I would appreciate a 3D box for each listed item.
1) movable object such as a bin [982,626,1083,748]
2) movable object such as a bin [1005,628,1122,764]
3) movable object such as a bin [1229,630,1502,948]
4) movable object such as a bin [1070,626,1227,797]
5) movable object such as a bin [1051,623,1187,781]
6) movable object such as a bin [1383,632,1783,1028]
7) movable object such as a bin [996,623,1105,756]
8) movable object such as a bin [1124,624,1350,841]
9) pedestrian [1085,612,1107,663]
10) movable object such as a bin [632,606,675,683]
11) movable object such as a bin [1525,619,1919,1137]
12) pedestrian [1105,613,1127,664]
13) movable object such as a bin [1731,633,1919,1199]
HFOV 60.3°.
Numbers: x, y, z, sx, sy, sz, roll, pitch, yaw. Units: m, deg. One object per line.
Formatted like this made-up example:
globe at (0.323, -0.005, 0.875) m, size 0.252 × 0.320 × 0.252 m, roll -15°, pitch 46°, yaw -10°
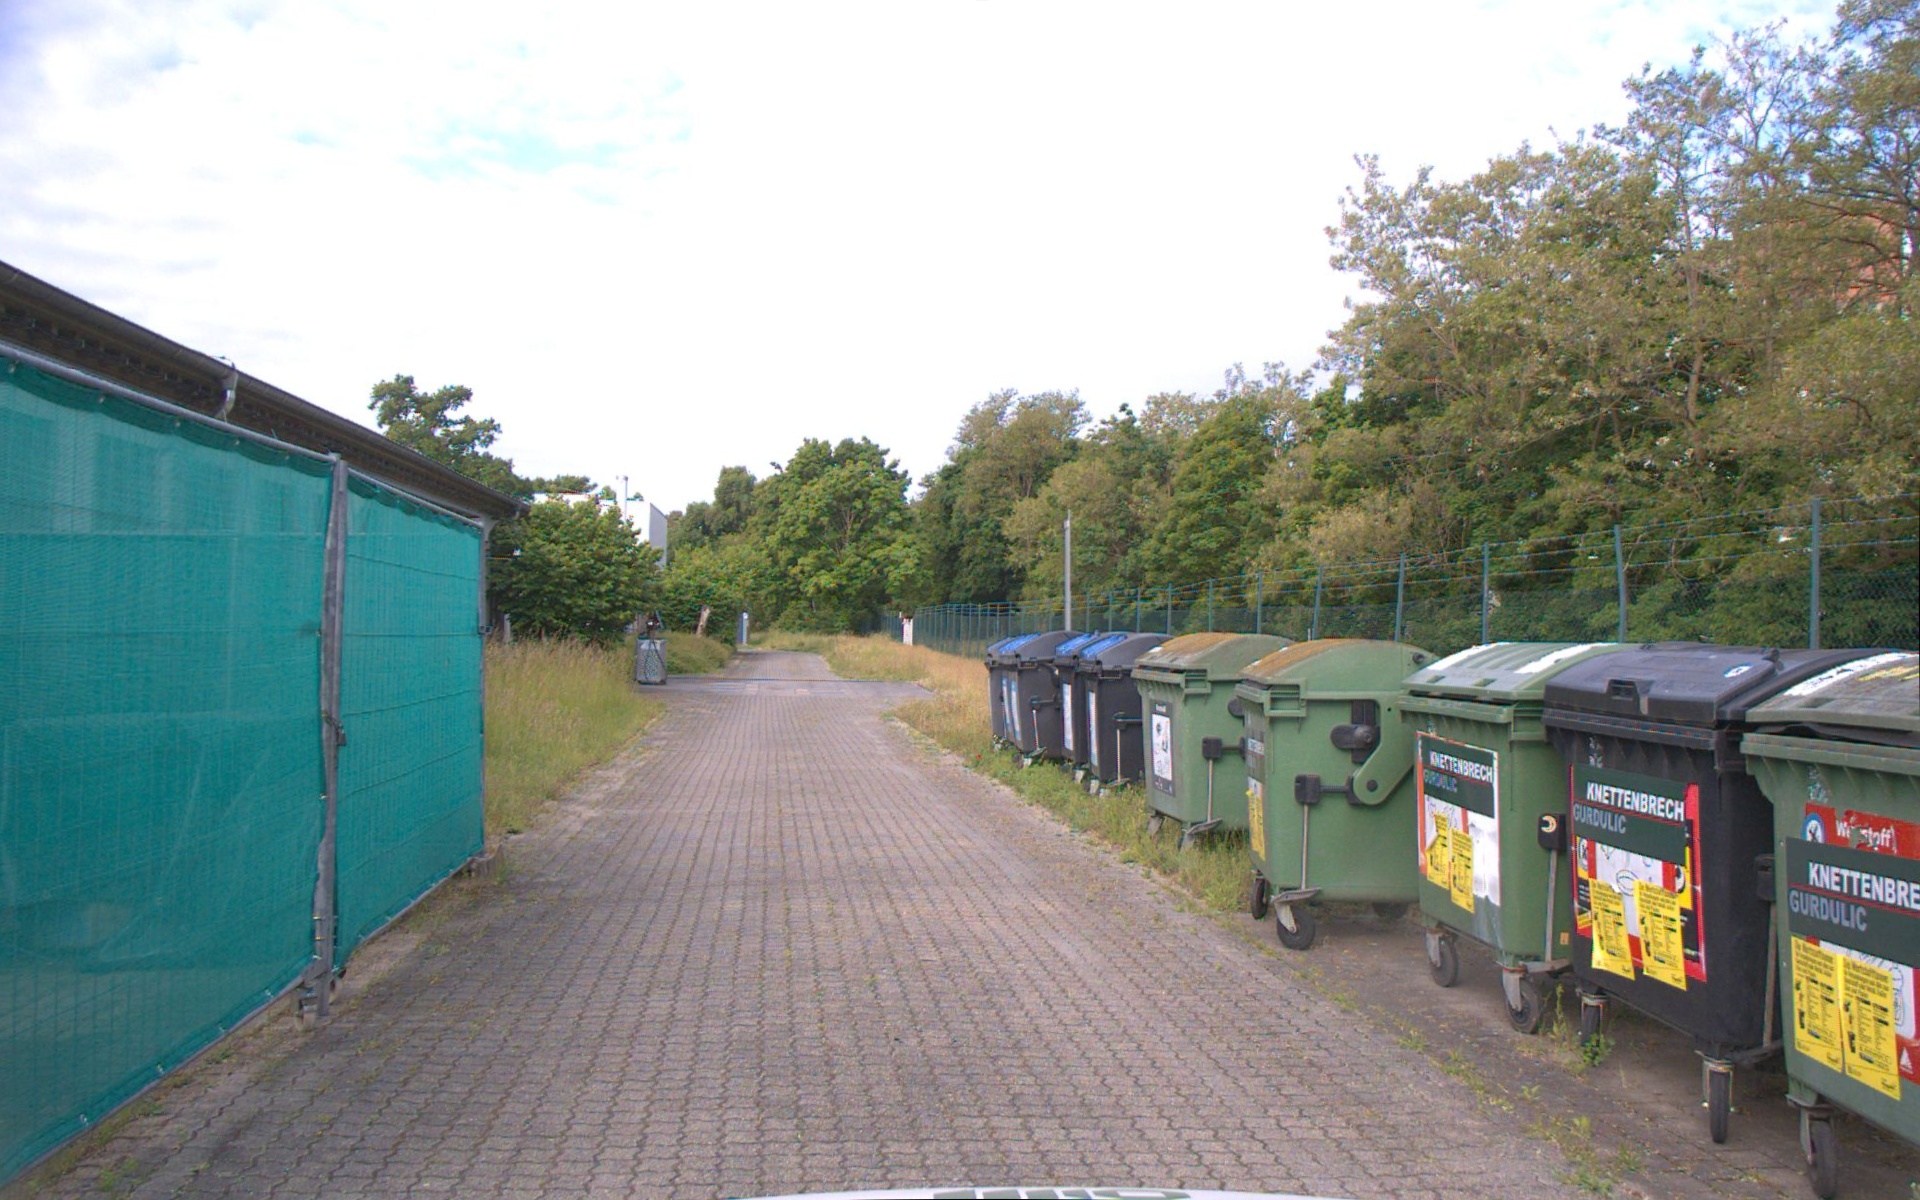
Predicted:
movable object such as a bin at (0.846, 1.025, 19.821) m, size 1.100 × 1.374 × 1.425 m, roll 1°, pitch -2°, yaw -1°
movable object such as a bin at (1.046, 0.963, 17.106) m, size 1.100 × 1.345 × 1.325 m, roll 1°, pitch -1°, yaw -1°
movable object such as a bin at (1.972, 0.884, 8.282) m, size 1.099 × 1.423 × 1.385 m, roll 1°, pitch -2°, yaw 4°
movable object such as a bin at (1.571, 0.922, 14.066) m, size 1.131 × 1.348 × 1.493 m, roll 1°, pitch -2°, yaw -1°
movable object such as a bin at (1.477, 0.942, 15.645) m, size 1.100 × 1.398 × 1.493 m, roll 1°, pitch -2°, yaw -1°
movable object such as a bin at (2.464, 0.863, 6.744) m, size 1.048 × 1.430 × 1.384 m, roll 1°, pitch -2°, yaw -4°
movable object such as a bin at (0.985, 0.980, 18.408) m, size 1.100 × 1.403 × 1.325 m, roll 1°, pitch -2°, yaw -1°
movable object such as a bin at (1.780, 0.840, 10.869) m, size 1.101 × 1.319 × 1.377 m, roll 1°, pitch -2°, yaw -7°
pedestrian at (5.494, 1.505, 66.657) m, size 0.745 × 2.049 × 0.663 m, roll 1°, pitch -1°, yaw -8°
movable object such as a bin at (-8.145, 1.179, 43.993) m, size 0.915 × 2.017 × 0.853 m, roll 0°, pitch -1°, yaw 2°
movable object such as a bin at (2.650, 0.818, 5.423) m, size 1.048 × 1.460 × 1.397 m, roll 1°, pitch -2°, yaw -4°
pedestrian at (6.288, 1.538, 66.697) m, size 0.745 × 2.049 × 0.663 m, roll 1°, pitch -1°, yaw -8°
movable object such as a bin at (2.753, 0.806, 4.075) m, size 1.105 × 1.420 × 1.356 m, roll 1°, pitch -2°, yaw 2°
